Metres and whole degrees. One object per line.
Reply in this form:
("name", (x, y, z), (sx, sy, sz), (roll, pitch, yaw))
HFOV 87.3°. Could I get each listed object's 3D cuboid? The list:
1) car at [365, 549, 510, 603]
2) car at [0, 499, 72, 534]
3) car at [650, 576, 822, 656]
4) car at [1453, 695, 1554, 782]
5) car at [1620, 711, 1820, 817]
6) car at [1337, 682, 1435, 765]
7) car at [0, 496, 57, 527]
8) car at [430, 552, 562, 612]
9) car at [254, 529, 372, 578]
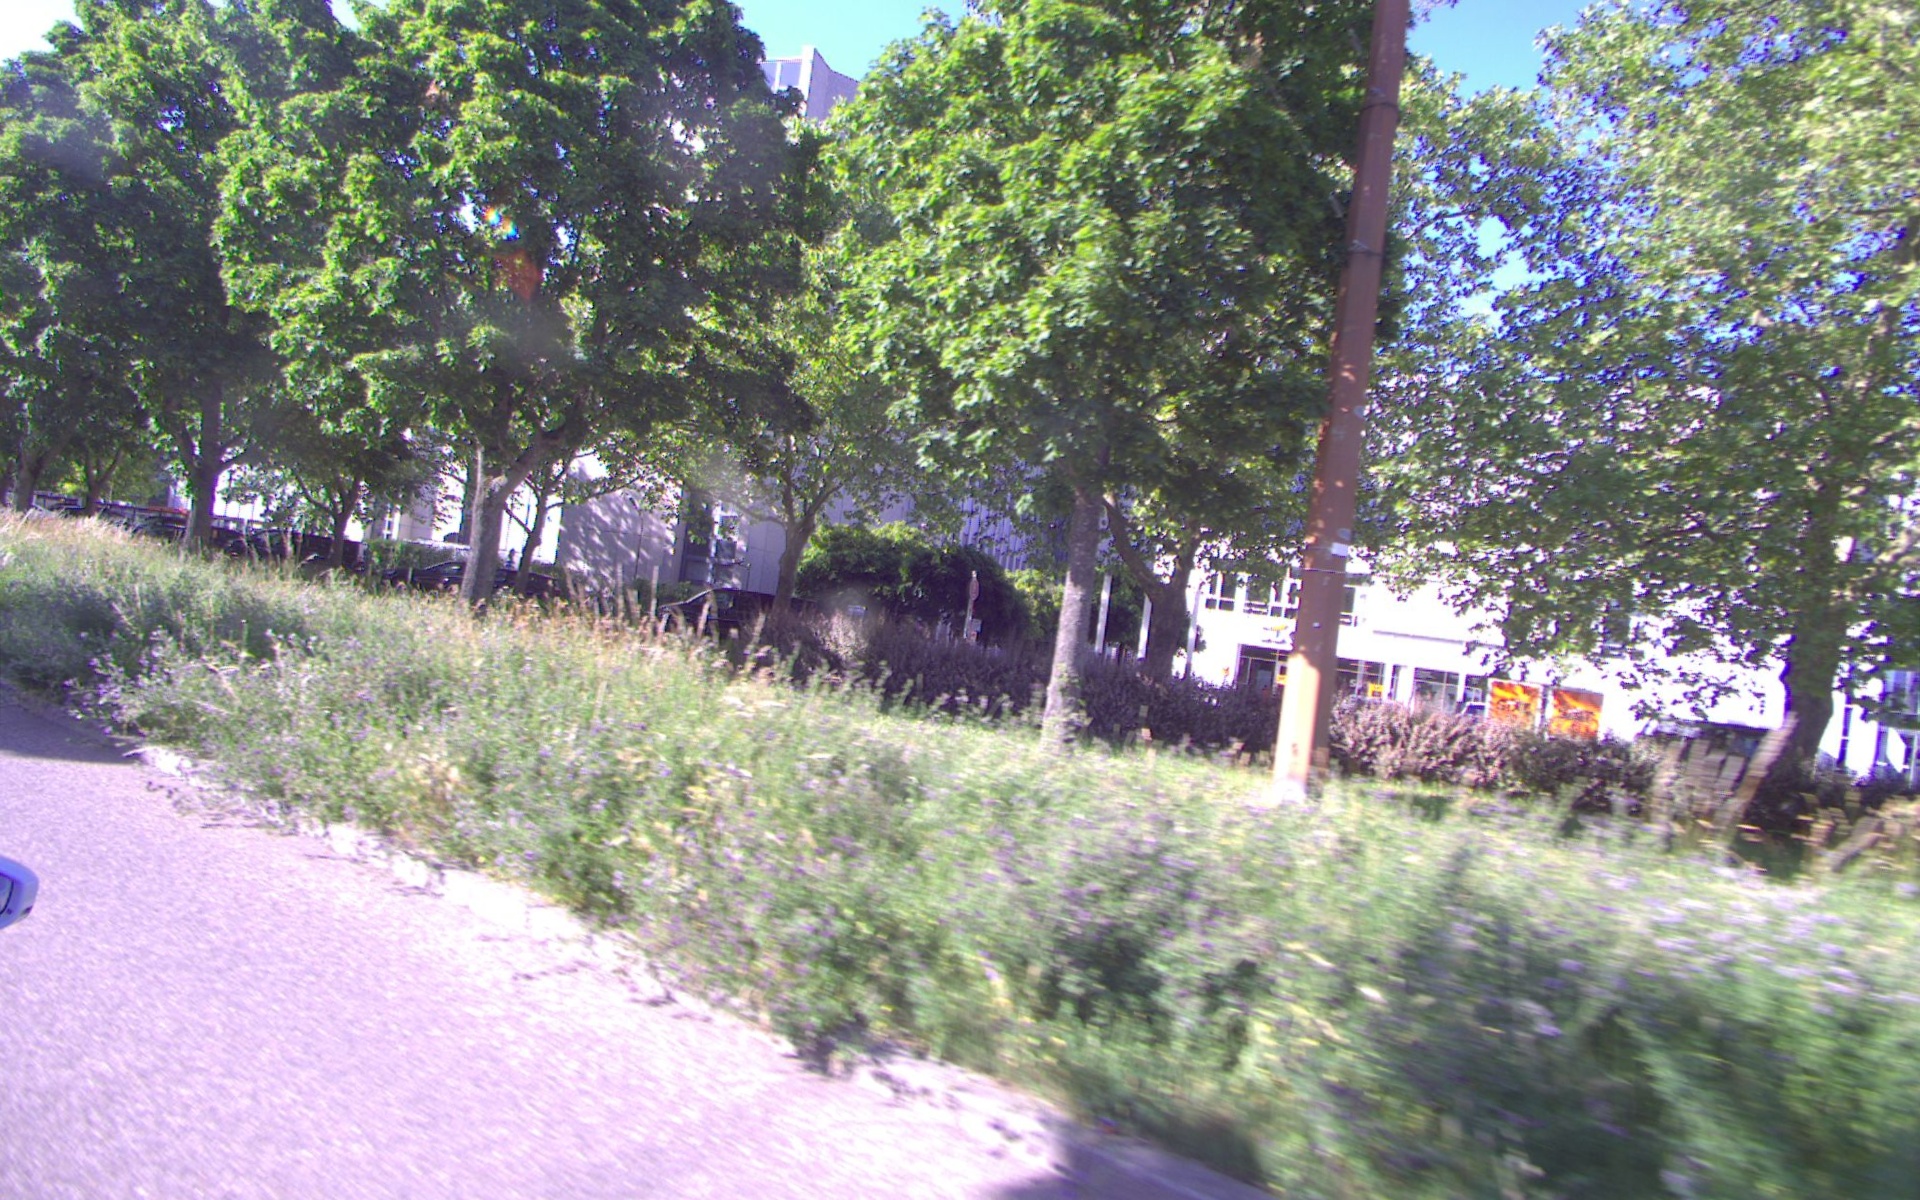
("car", (-19.924, -0.890, 38.597), (4.625, 1.342, 2.081), (8, -2, -23))
("car", (-56.829, -5.172, 60.512), (1.965, 1.573, 4.644), (7, -2, 27))
("car", (-6.934, 0.518, 31.086), (4.869, 1.822, 1.812), (7, -2, -20))
("car", (13.346, 3.346, 24.866), (1.862, 1.705, 4.470), (6, -3, 27))
("car", (17.426, 3.684, 23.401), (2.052, 1.777, 4.903), (7, -2, 18))
("car", (11.102, 3.150, 26.031), (1.862, 1.705, 4.470), (6, -3, 27))
("car", (-62.518, -5.956, 65.819), (1.965, 1.573, 4.644), (7, -2, 27))
("car", (-16.974, -0.638, 37.032), (4.177, 1.573, 1.919), (8, -2, -22))
("car", (-28.536, -2.026, 44.526), (3.947, 1.531, 1.991), (8, -2, -22))
